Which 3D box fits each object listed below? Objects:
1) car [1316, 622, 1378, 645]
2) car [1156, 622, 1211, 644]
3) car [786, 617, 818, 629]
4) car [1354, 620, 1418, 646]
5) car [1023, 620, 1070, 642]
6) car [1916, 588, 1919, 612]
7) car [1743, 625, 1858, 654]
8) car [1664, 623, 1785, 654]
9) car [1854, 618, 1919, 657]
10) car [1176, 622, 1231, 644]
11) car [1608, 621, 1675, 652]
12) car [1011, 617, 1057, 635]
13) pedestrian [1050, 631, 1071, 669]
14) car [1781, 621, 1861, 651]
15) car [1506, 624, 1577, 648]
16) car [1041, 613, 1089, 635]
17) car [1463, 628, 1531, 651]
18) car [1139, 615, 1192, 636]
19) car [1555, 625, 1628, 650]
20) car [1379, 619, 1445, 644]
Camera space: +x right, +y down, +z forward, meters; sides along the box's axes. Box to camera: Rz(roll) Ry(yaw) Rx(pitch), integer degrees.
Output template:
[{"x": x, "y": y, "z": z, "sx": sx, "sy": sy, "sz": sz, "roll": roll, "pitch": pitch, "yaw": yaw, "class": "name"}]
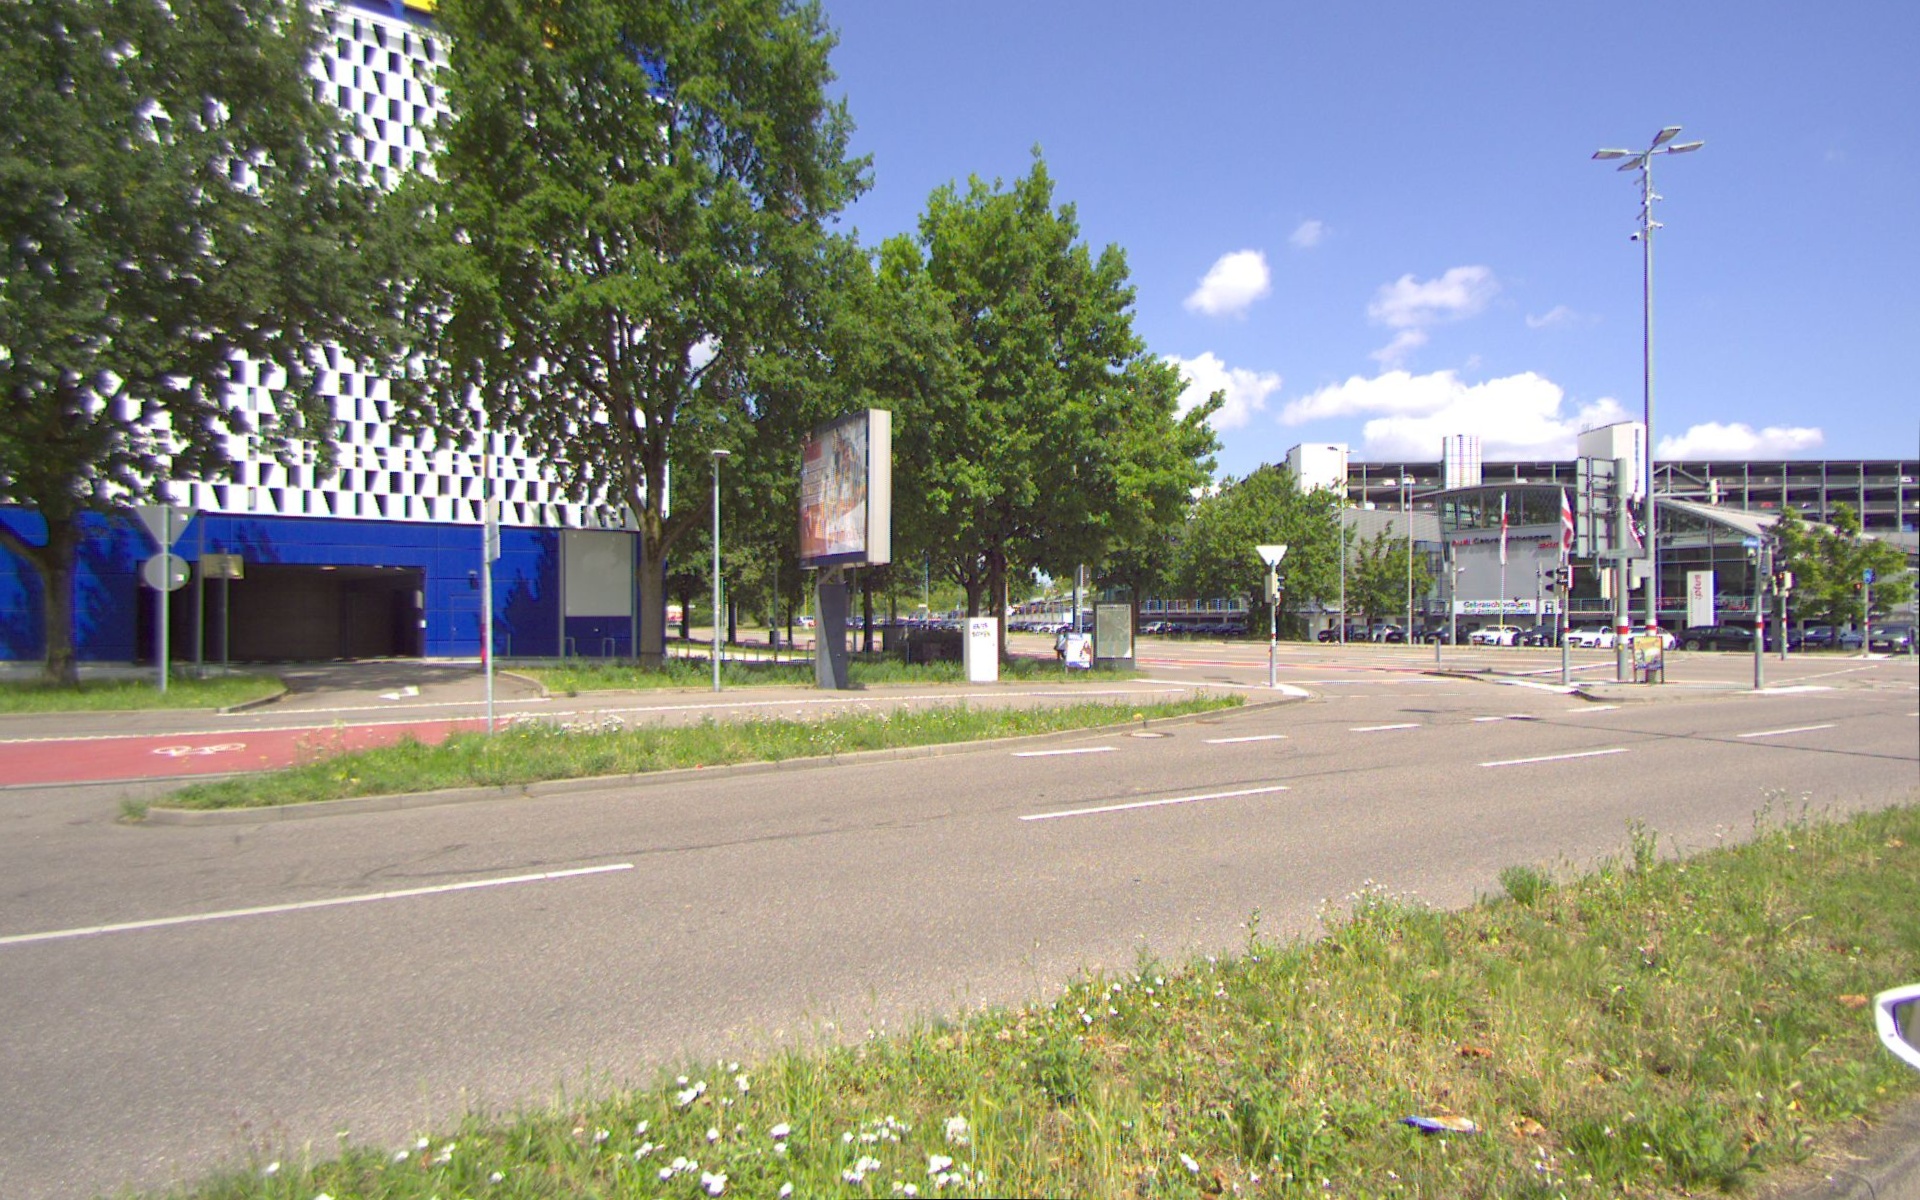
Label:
[{"x": 27.400, "y": 2.403, "z": 71.072, "sx": 4.544, "sy": 1.423, "sz": 1.889, "roll": 3, "pitch": -1, "yaw": -35, "class": "car"}, {"x": 18.805, "y": 2.801, "z": 84.521, "sx": 4.543, "sy": 1.700, "sz": 1.889, "roll": 2, "pitch": 0, "yaw": -35, "class": "car"}, {"x": -23.127, "y": 3.387, "z": 147.043, "sx": 4.327, "sy": 1.533, "sz": 1.916, "roll": 2, "pitch": 0, "yaw": -36, "class": "car"}, {"x": 29.093, "y": 2.259, "z": 68.590, "sx": 4.545, "sy": 1.423, "sz": 1.889, "roll": 5, "pitch": -2, "yaw": -35, "class": "car"}, {"x": 8.689, "y": 3.148, "z": 100.896, "sx": 4.543, "sy": 2.076, "sz": 1.889, "roll": 2, "pitch": 0, "yaw": -35, "class": "car"}, {"x": 76.182, "y": 0.041, "z": 76.664, "sx": 1.747, "sy": 1.825, "sz": 4.412, "roll": 2, "pitch": 0, "yaw": -35, "class": "car"}, {"x": 48.044, "y": 2.245, "z": 57.497, "sx": 1.965, "sy": 1.530, "sz": 4.710, "roll": 5, "pitch": -3, "yaw": -34, "class": "car"}, {"x": 39.979, "y": 1.976, "z": 52.636, "sx": 1.778, "sy": 1.483, "sz": 4.710, "roll": 5, "pitch": -3, "yaw": -34, "class": "car"}, {"x": 43.650, "y": 1.739, "z": 46.861, "sx": 4.543, "sy": 1.700, "sz": 1.889, "roll": 2, "pitch": 0, "yaw": -35, "class": "car"}, {"x": 20.168, "y": 2.763, "z": 83.018, "sx": 4.543, "sy": 1.700, "sz": 1.889, "roll": 2, "pitch": 0, "yaw": -35, "class": "car"}, {"x": 37.689, "y": 2.033, "z": 55.528, "sx": 3.961, "sy": 1.483, "sz": 1.779, "roll": 5, "pitch": -3, "yaw": -35, "class": "car"}, {"x": 7.542, "y": 2.625, "z": 102.495, "sx": 4.543, "sy": 1.700, "sz": 1.889, "roll": 2, "pitch": 0, "yaw": -35, "class": "car"}, {"x": 4.239, "y": 2.092, "z": 42.427, "sx": 0.499, "sy": 1.576, "sz": 0.753, "roll": 0, "pitch": -1, "yaw": -34, "class": "pedestrian"}, {"x": 42.130, "y": 1.763, "z": 49.112, "sx": 4.543, "sy": 1.315, "sz": 1.889, "roll": 2, "pitch": 0, "yaw": -35, "class": "car"}, {"x": 34.767, "y": 2.172, "z": 60.013, "sx": 4.543, "sy": 1.315, "sz": 1.889, "roll": 2, "pitch": 0, "yaw": -35, "class": "car"}, {"x": 10.234, "y": 2.361, "z": 97.890, "sx": 4.543, "sy": 2.076, "sz": 1.889, "roll": 2, "pitch": 0, "yaw": -35, "class": "car"}, {"x": 33.280, "y": 2.436, "z": 62.207, "sx": 4.543, "sy": 1.315, "sz": 1.889, "roll": 2, "pitch": 0, "yaw": -35, "class": "car"}, {"x": 17.748, "y": 2.223, "z": 86.821, "sx": 4.543, "sy": 1.700, "sz": 1.889, "roll": 2, "pitch": 0, "yaw": -35, "class": "car"}, {"x": 36.377, "y": 2.168, "z": 57.817, "sx": 4.543, "sy": 1.315, "sz": 1.889, "roll": 2, "pitch": 0, "yaw": -35, "class": "car"}, {"x": 29.991, "y": 2.115, "z": 66.571, "sx": 4.544, "sy": 1.402, "sz": 1.889, "roll": 4, "pitch": -1, "yaw": -35, "class": "car"}]
